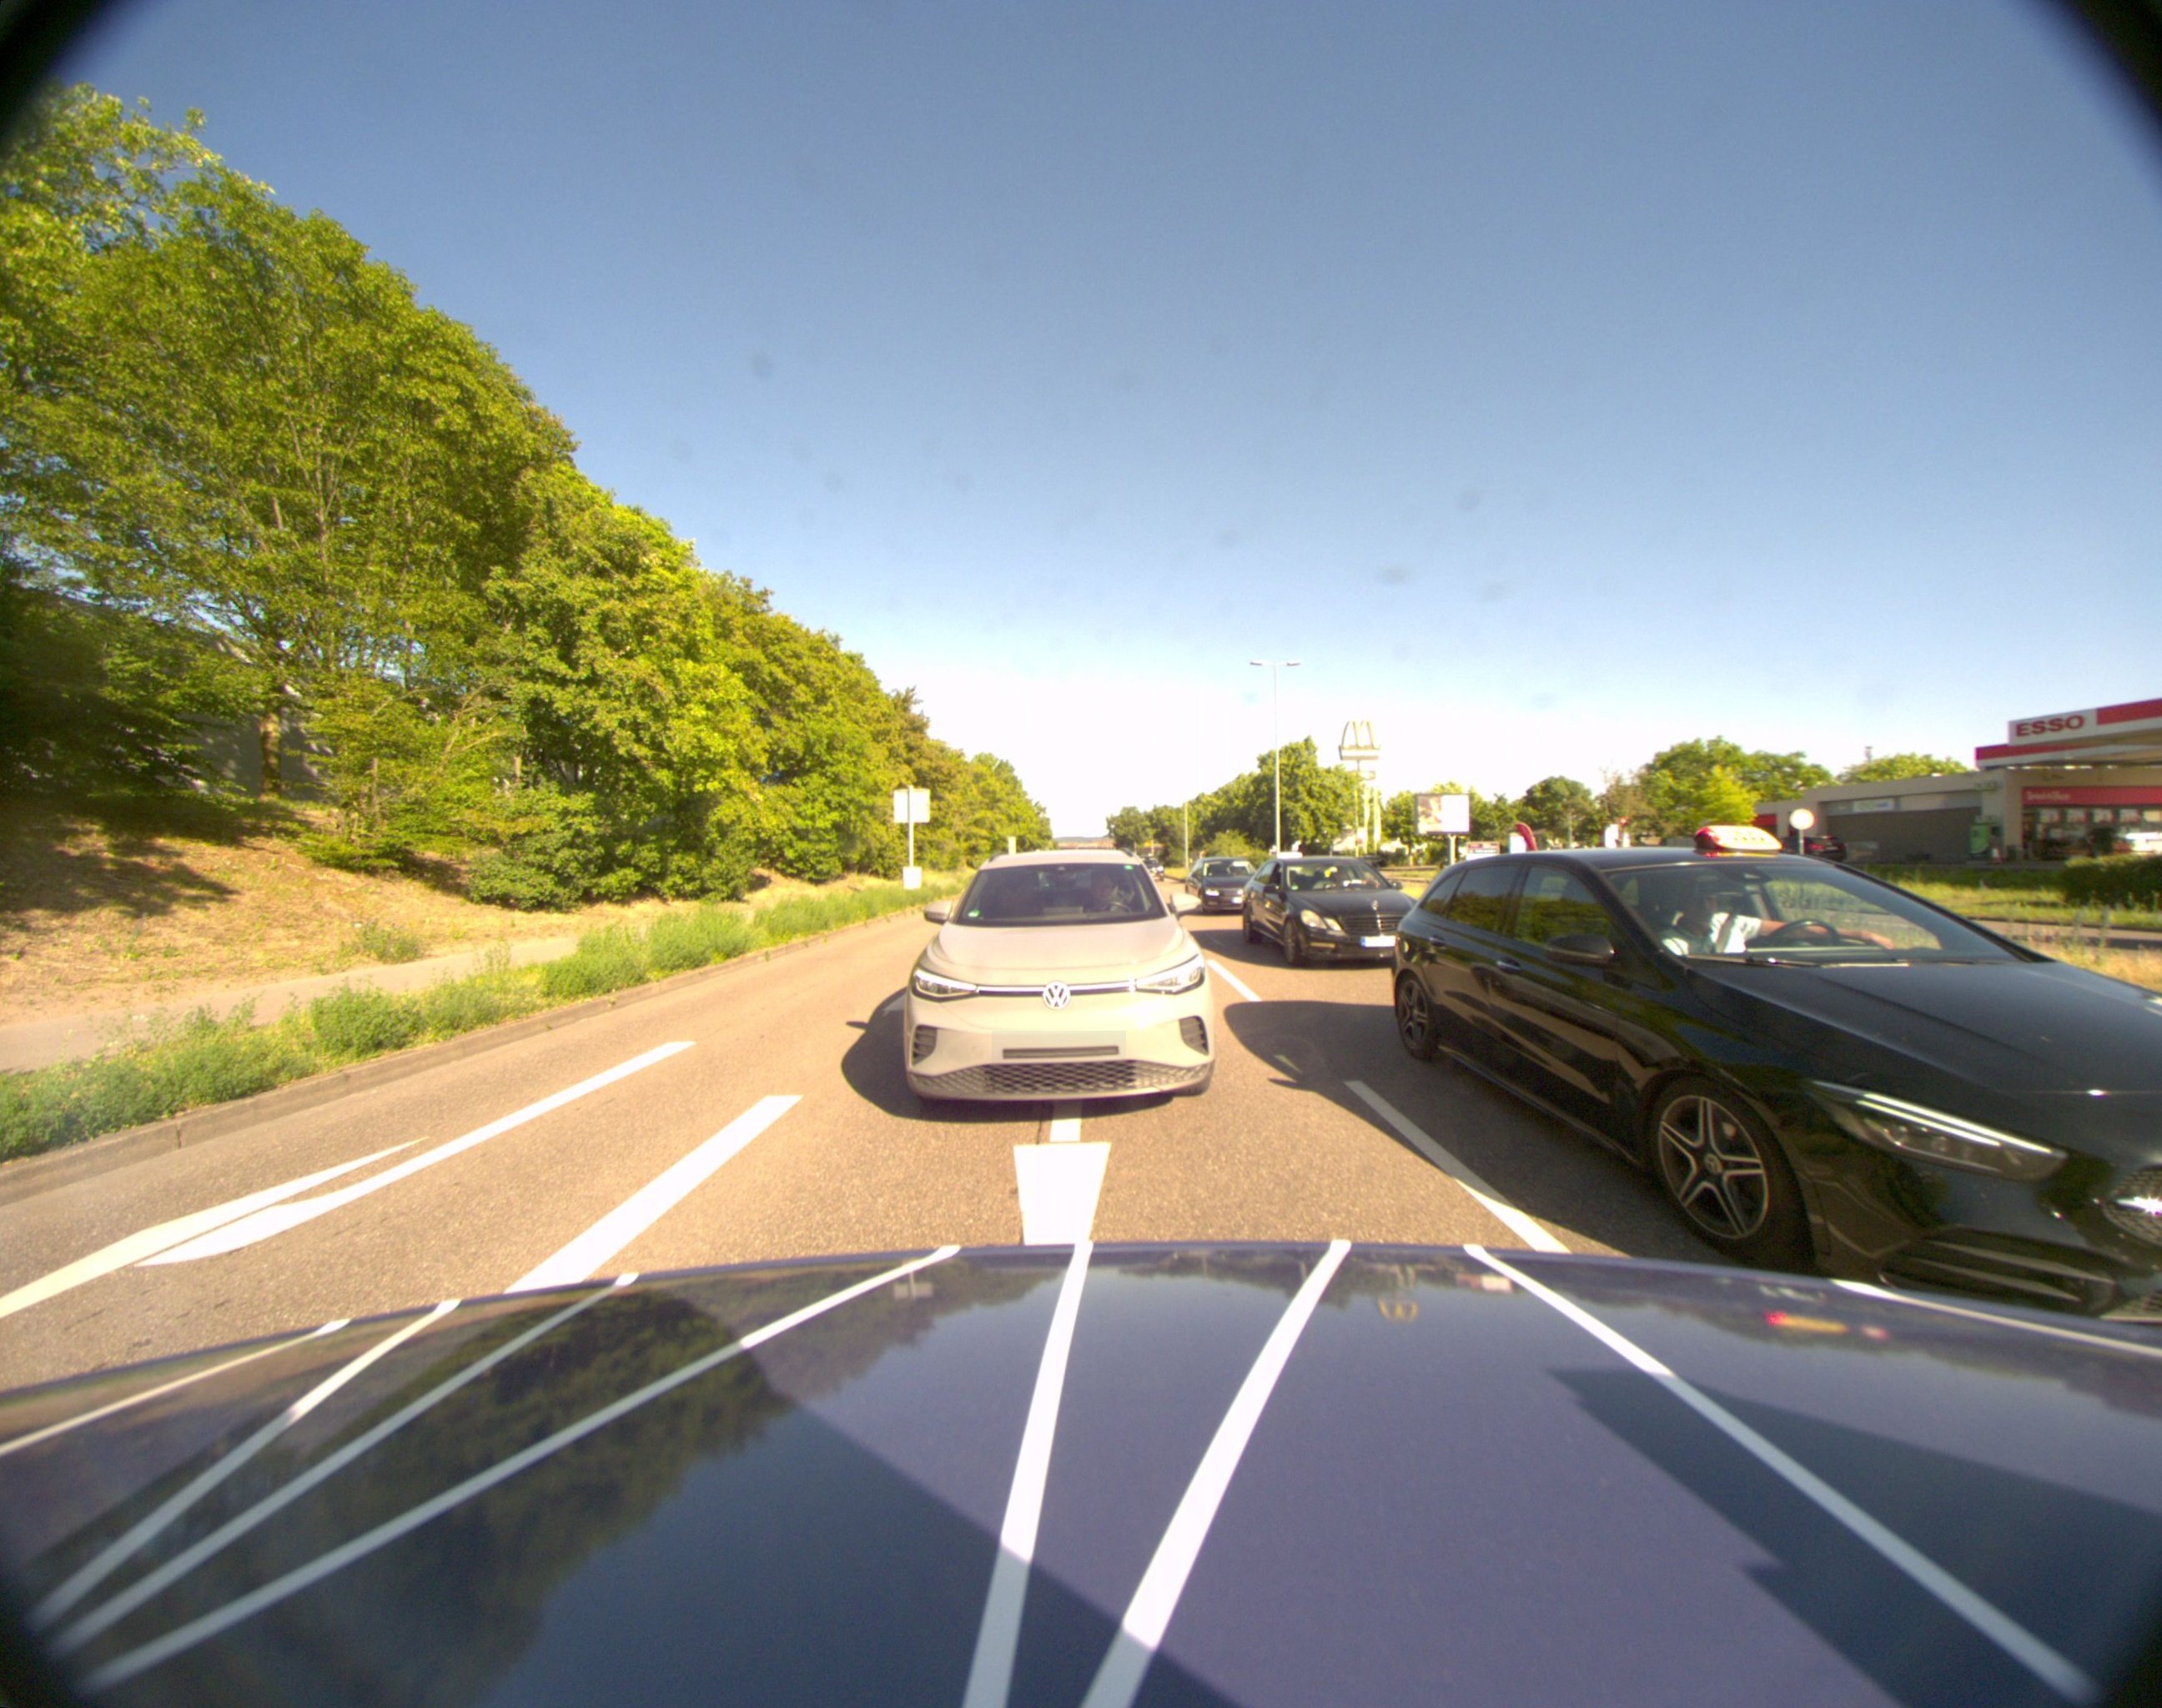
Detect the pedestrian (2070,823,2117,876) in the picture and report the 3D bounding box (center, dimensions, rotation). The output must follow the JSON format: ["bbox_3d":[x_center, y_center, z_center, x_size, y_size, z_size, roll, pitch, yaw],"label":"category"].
[{"bbox_3d":[39.394,-0.179,29.566,0.703,2.002,0.840,-1,0,1],"label":"pedestrian"}]

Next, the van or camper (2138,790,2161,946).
[{"bbox_3d":[19.252,0.271,10.110,1.999,2.635,5.956,1,0,0],"label":"van or camper"}]

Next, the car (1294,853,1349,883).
[{"bbox_3d":[14.577,0.821,46.308,1.884,1.680,4.436,-1,0,0],"label":"car"}]

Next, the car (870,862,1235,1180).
[{"bbox_3d":[-0.123,0.900,5.955,1.871,1.588,3.932,-2,0,1],"label":"car"}]

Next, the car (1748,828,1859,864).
[{"bbox_3d":[37.703,-0.396,39.818,1.998,1.759,4.118,-2,0,2],"label":"car"}]

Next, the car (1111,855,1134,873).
[{"bbox_3d":[3.821,0.860,70.612,1.862,1.578,4.403,-1,0,1],"label":"car"}]

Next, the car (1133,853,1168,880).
[{"bbox_3d":[4.312,0.769,47.721,1.862,1.578,4.403,-1,0,1],"label":"car"}]

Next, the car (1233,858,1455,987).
[{"bbox_3d":[3.650,0.851,11.471,1.862,1.515,4.403,-1,0,1],"label":"car"}]

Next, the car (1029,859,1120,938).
[{"bbox_3d":[-0.108,0.899,16.974,1.765,1.503,3.760,-2,0,1],"label":"car"}]

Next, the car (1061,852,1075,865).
[{"bbox_3d":[-2.276,0.749,132.551,2.289,2.274,5.381,-1,0,1],"label":"car"}]

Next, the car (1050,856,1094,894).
[{"bbox_3d":[-0.341,0.887,33.217,1.765,1.503,3.760,-2,0,1],"label":"car"}]

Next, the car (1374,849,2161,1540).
[{"bbox_3d":[3.165,0.810,3.876,1.804,1.616,4.188,-1,0,2],"label":"car"}]

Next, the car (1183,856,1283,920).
[{"bbox_3d":[3.952,0.829,20.519,1.862,1.472,4.403,-1,0,1],"label":"car"}]

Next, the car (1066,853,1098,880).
[{"bbox_3d":[0.082,0.743,45.713,1.765,1.503,3.760,-2,0,1],"label":"car"}]

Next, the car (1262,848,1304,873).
[{"bbox_3d":[17.140,0.531,64.659,1.999,2.002,5.024,1,0,-3],"label":"car"}]
